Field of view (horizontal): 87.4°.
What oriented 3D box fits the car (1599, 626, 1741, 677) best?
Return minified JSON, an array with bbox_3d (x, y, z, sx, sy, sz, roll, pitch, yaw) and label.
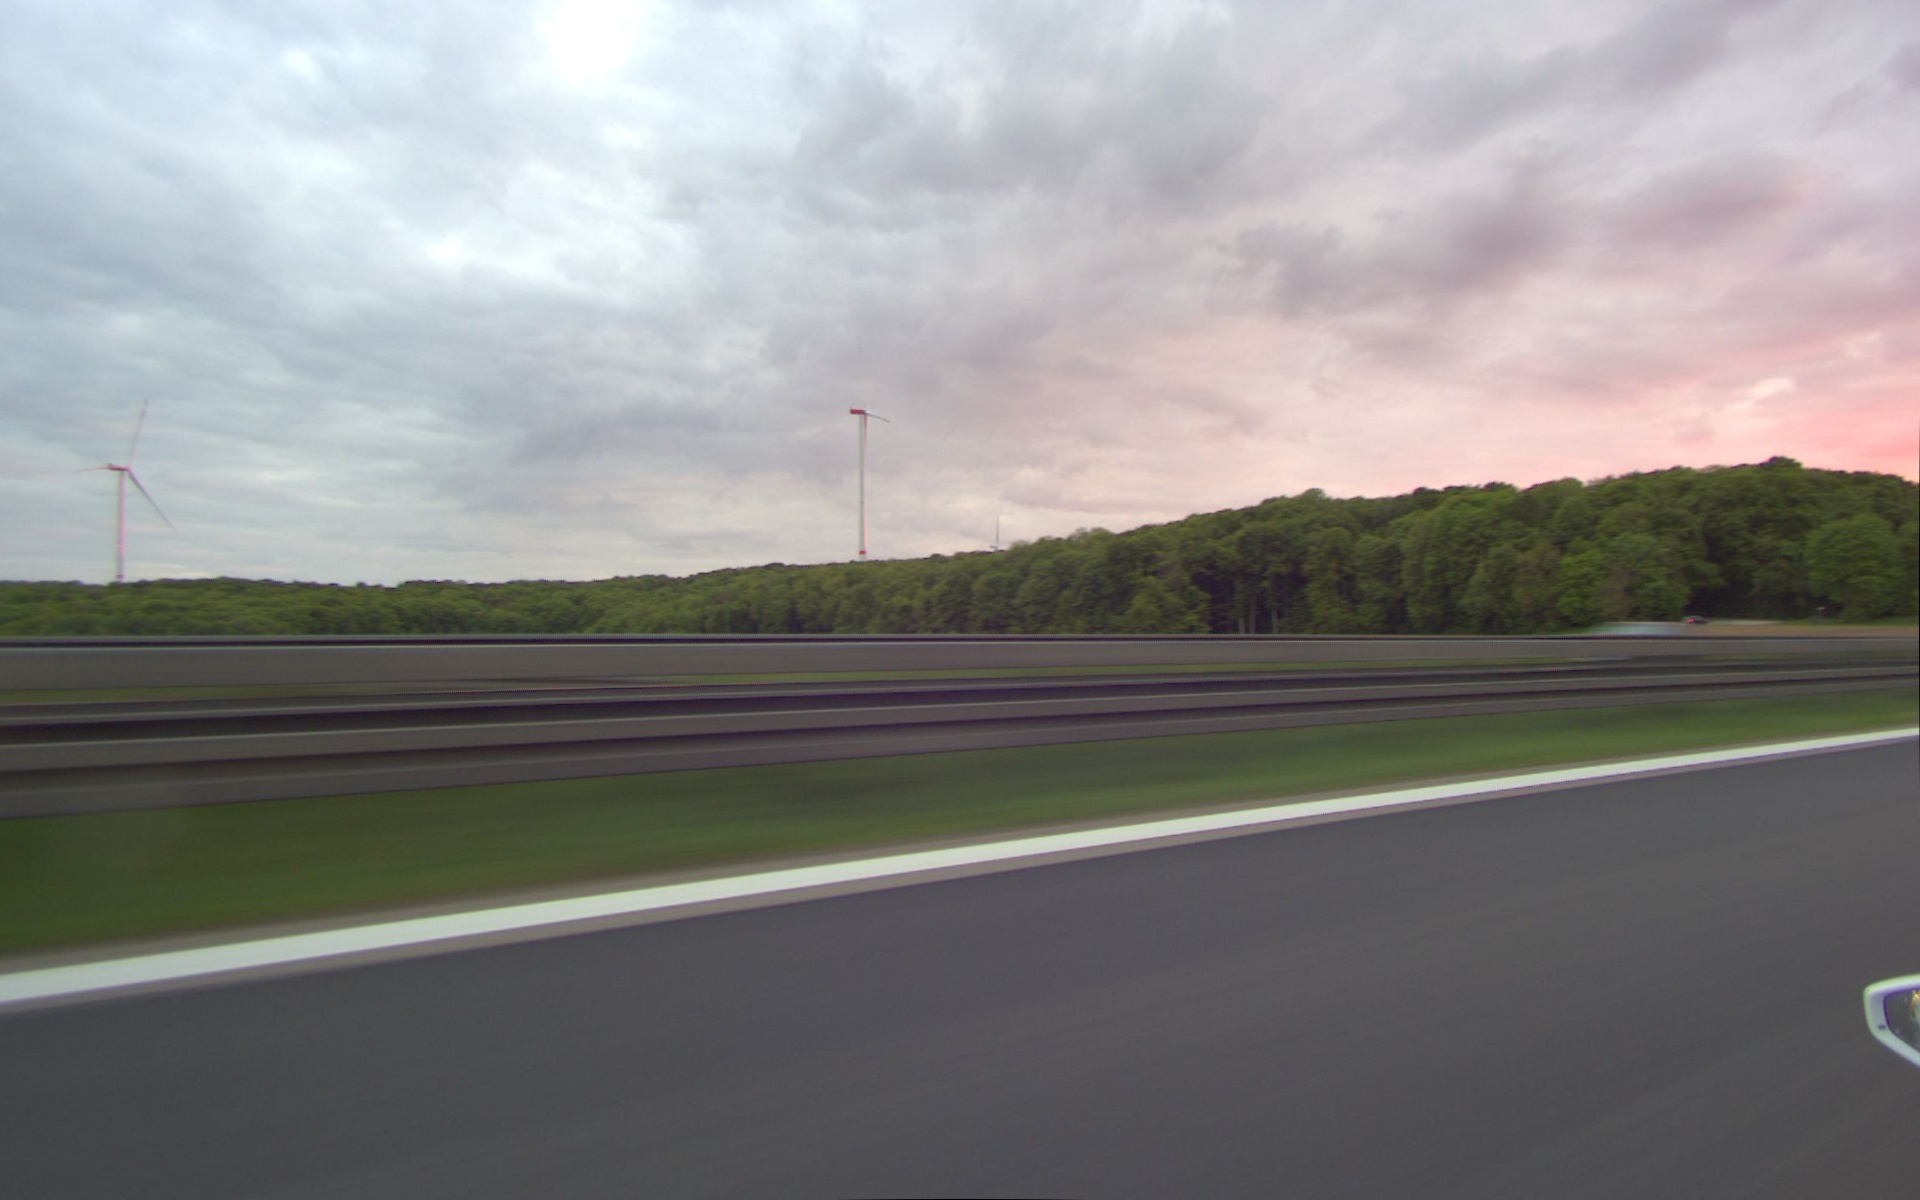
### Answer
[{"bbox_3d":[19.839,1.434,28.064,3.901,1.305,1.633,0,-4,-28],"label":"car"}]
